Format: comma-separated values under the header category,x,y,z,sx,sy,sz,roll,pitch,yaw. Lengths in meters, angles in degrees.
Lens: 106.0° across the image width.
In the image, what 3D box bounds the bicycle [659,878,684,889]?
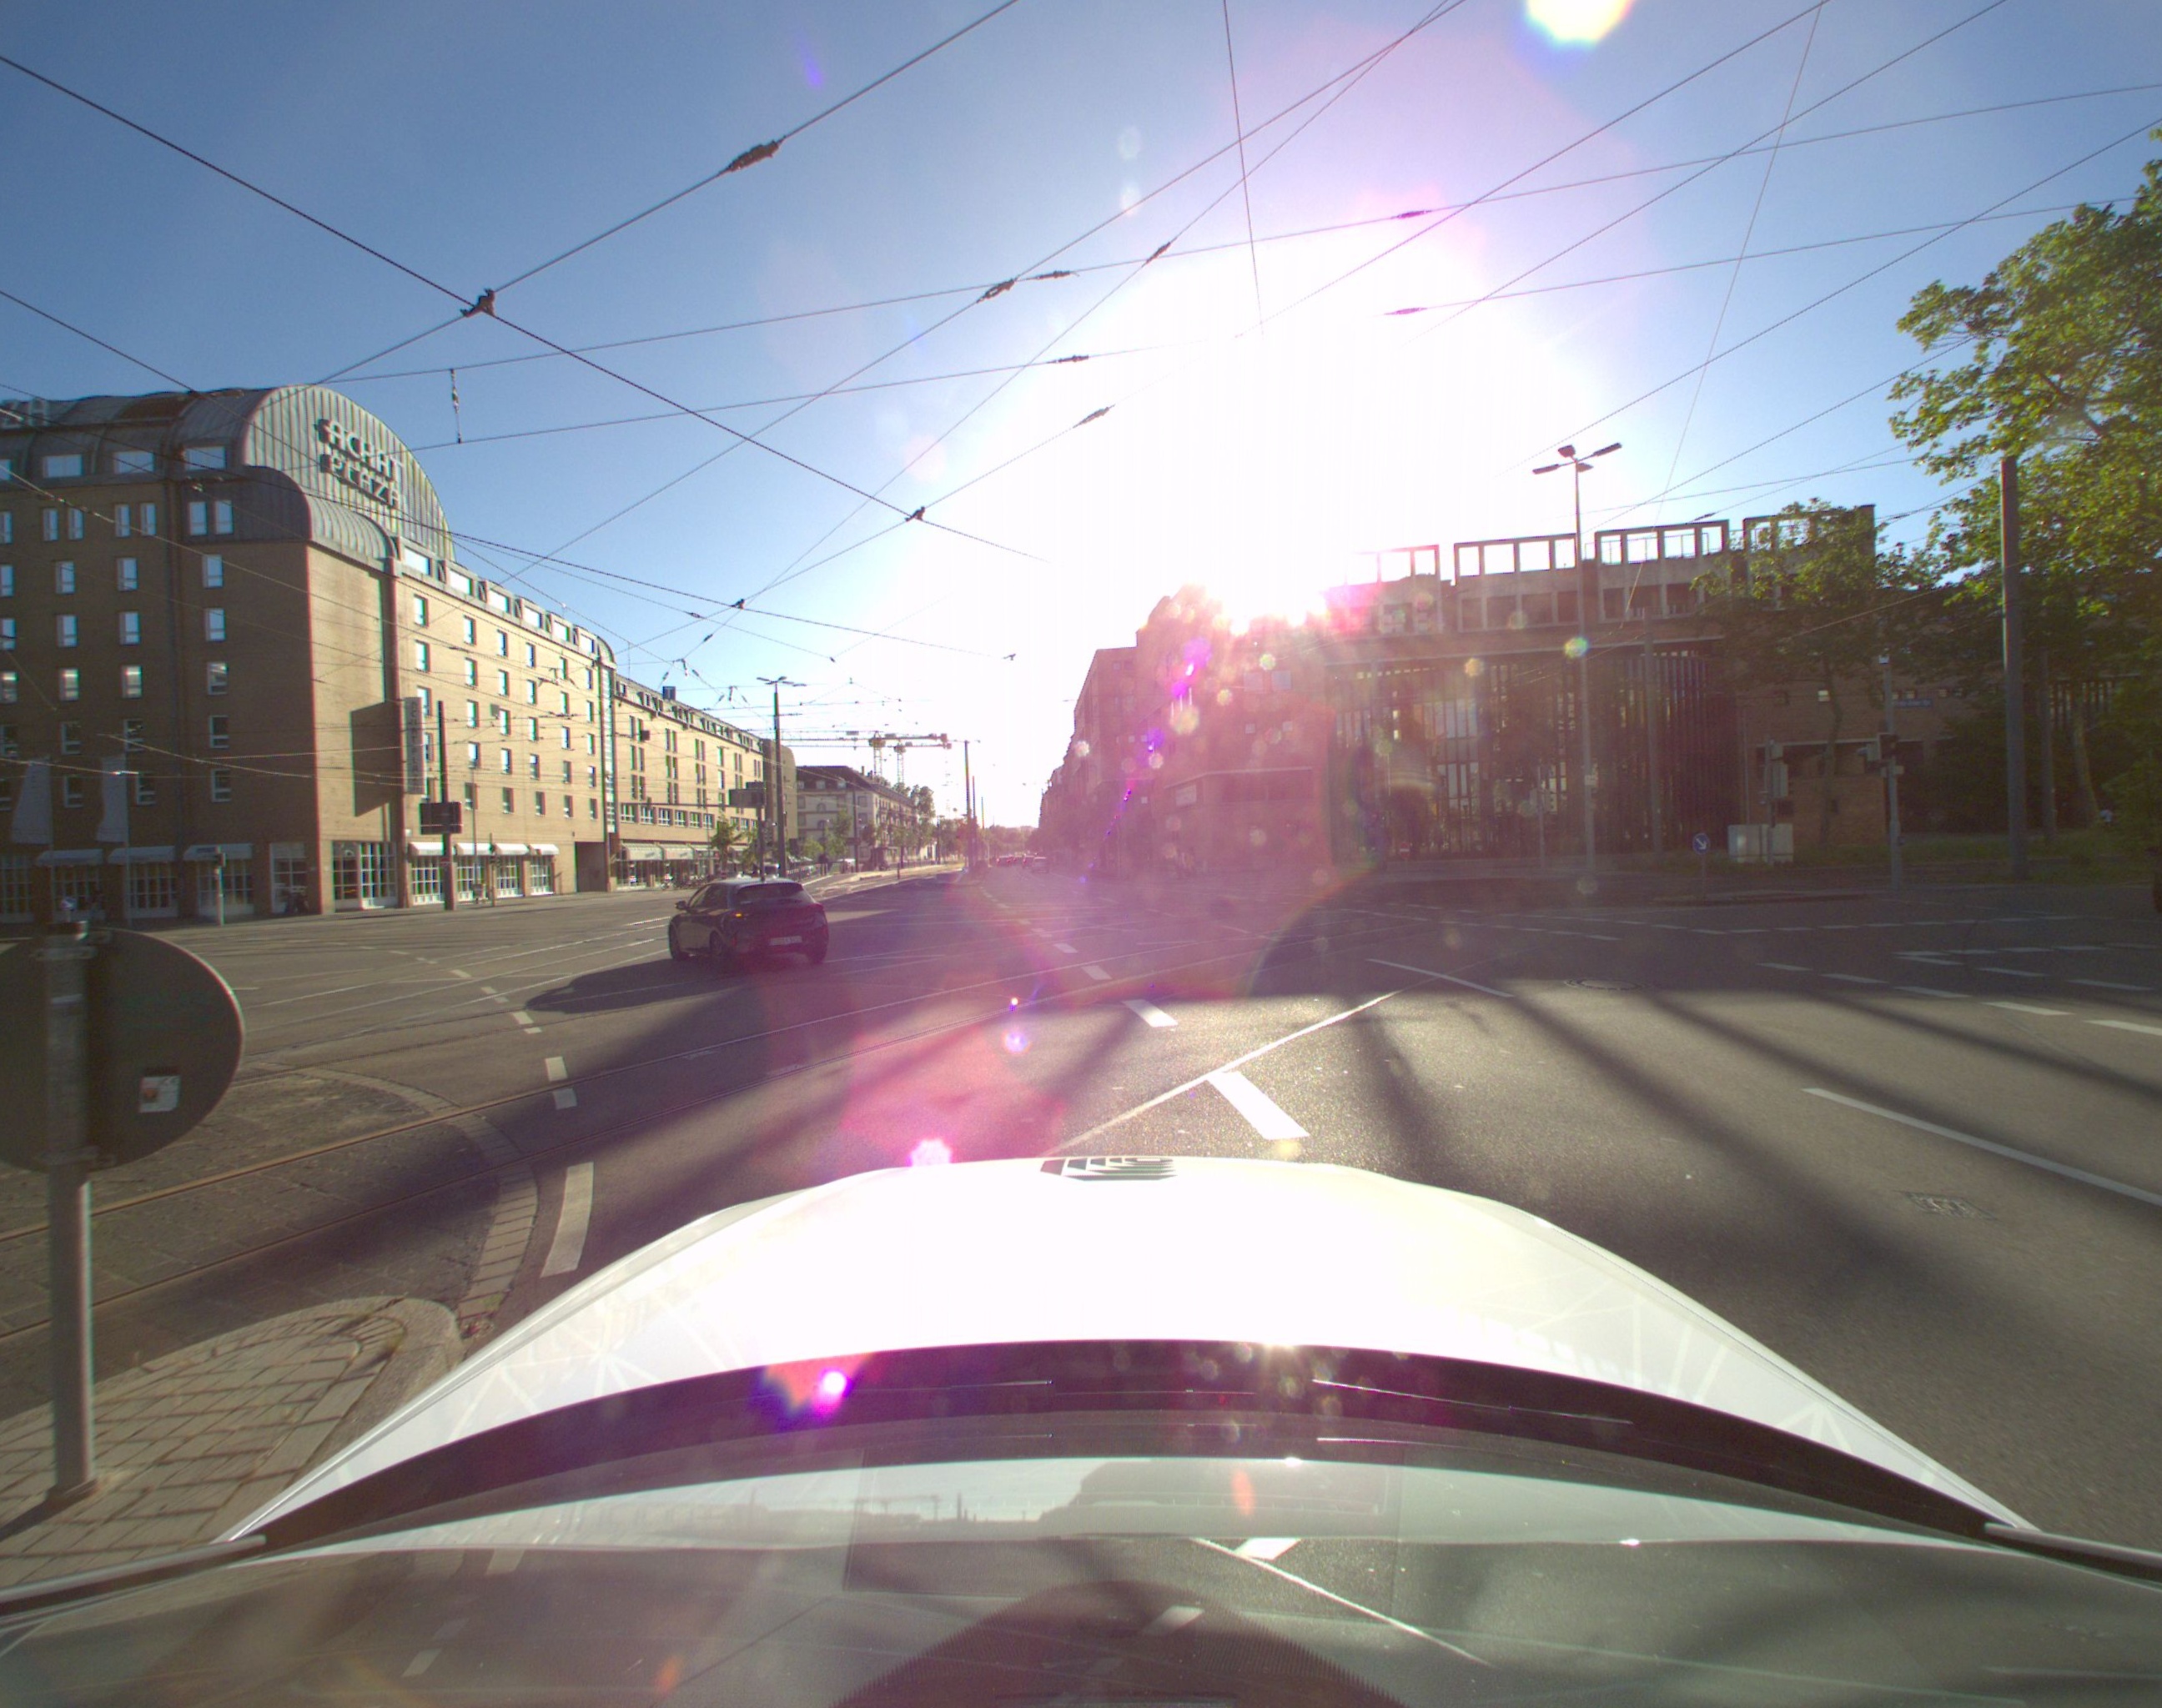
category,x,y,z,sx,sy,sz,roll,pitch,yaw
bicycle,-37.117,2.671,73.767,2.023,0.845,0.484,-3,0,5

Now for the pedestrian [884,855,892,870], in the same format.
category,x,y,z,sx,sy,sz,roll,pitch,yaw
pedestrian,-22.891,0.987,96.447,0.862,1.670,0.734,-2,1,-15

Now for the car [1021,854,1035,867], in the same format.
category,x,y,z,sx,sy,sz,roll,pitch,yaw
car,-6.748,0.831,102.950,1.668,1.453,3.692,-3,0,-4

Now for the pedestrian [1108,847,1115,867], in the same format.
category,x,y,z,sx,sy,sz,roll,pitch,yaw
pedestrian,2.753,0.296,73.473,0.546,1.785,0.573,-2,3,-2

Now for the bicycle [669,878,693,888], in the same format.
category,x,y,z,sx,sy,sz,roll,pitch,yaw
bicycle,-37.029,2.664,75.355,2.023,0.845,0.484,-3,0,5

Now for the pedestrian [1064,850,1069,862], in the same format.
category,x,y,z,sx,sy,sz,roll,pitch,yaw
pedestrian,-2.077,0.277,119.263,0.638,1.786,0.688,-3,0,-2

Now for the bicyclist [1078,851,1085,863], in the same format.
category,x,y,z,sx,sy,sz,roll,pitch,yaw
bicyclist,0.076,0.289,92.086,0.644,1.339,0.652,-2,0,-3

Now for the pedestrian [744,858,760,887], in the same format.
category,x,y,z,sx,sy,sz,roll,pitch,yaw
pedestrian,-20.401,1.128,50.533,0.719,1.727,0.594,-3,0,-4

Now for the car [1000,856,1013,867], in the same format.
category,x,y,z,sx,sy,sz,roll,pitch,yaw
car,-10.571,1.000,115.637,1.717,1.453,3.692,-3,0,-4

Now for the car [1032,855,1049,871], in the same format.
category,x,y,z,sx,sy,sz,roll,pitch,yaw
car,-3.917,0.827,78.288,1.556,1.456,3.428,-2,0,-3

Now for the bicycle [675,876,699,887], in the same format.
category,x,y,z,sx,sy,sz,roll,pitch,yaw
bicycle,-37.176,2.635,76.775,2.023,0.920,0.484,-3,0,5

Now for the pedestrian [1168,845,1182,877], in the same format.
category,x,y,z,sx,sy,sz,roll,pitch,yaw
pedestrian,5.366,0.422,46.526,0.572,1.786,0.547,-3,0,-12

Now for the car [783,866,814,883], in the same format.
category,x,y,z,sx,sy,sz,roll,pitch,yaw
car,-27.718,1.982,80.107,1.837,1.448,4.290,-4,0,-6

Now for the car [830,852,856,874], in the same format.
category,x,y,z,sx,sy,sz,roll,pitch,yaw
car,-36.652,1.325,125.680,2.375,2.998,8.450,-3,1,-7

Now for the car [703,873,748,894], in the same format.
category,x,y,z,sx,sy,sz,roll,pitch,yaw
car,-26.552,2.178,60.988,1.837,1.268,4.221,-4,0,-6

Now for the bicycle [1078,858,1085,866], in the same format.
category,x,y,z,sx,sy,sz,roll,pitch,yaw
bicycle,0.100,0.890,91.976,0.647,0.904,2.343,-2,1,-3

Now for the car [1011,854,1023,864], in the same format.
category,x,y,z,sx,sy,sz,roll,pitch,yaw
car,-10.454,0.809,133.133,1.717,1.453,3.692,-3,0,-4

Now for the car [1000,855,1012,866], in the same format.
category,x,y,z,sx,sy,sz,roll,pitch,yaw
car,-11.566,1.005,126.332,1.717,1.453,3.692,-3,0,-4

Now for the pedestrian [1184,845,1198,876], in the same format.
category,x,y,z,sx,sy,sz,roll,pitch,yaw
pedestrian,6.468,0.390,47.744,0.572,1.786,0.547,-3,0,-12

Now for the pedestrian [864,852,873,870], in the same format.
category,x,y,z,sx,sy,sz,roll,pitch,yaw
pedestrian,-23.015,0.718,88.133,0.862,1.886,0.734,-2,1,-15

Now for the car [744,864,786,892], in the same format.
category,x,y,z,sx,sy,sz,roll,pitch,yaw
car,-23.314,1.726,60.200,1.838,1.835,4.096,-4,0,-8

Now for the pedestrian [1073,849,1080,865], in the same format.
category,x,y,z,sx,sy,sz,roll,pitch,yaw
pedestrian,-0.560,0.371,96.894,0.639,1.786,0.687,-3,0,-4

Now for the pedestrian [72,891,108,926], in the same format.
category,x,y,z,sx,sy,sz,roll,pitch,yaw
pedestrian,-49.171,2.702,40.421,0.749,1.665,0.740,-2,1,-2

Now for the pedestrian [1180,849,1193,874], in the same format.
category,x,y,z,sx,sy,sz,roll,pitch,yaw
pedestrian,6.346,0.447,48.959,0.549,1.477,0.569,-3,1,-22

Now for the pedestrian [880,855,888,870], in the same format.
category,x,y,z,sx,sy,sz,roll,pitch,yaw
pedestrian,-23.461,0.999,97.130,0.862,1.670,0.781,-2,1,-15

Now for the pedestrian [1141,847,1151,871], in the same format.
category,x,y,z,sx,sy,sz,roll,pitch,yaw
pedestrian,5.093,0.390,63.561,0.638,1.786,0.688,-3,0,-2

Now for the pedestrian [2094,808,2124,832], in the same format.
category,x,y,z,sx,sy,sz,roll,pitch,yaw
pedestrian,59.665,-1.963,47.267,0.683,1.384,0.812,-2,0,-2

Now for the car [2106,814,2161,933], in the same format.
category,x,y,z,sx,sy,sz,roll,pitch,yaw
car,15.696,0.178,11.058,4.000,1.474,1.844,-3,0,-43

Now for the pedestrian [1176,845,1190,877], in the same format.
category,x,y,z,sx,sy,sz,roll,pitch,yaw
pedestrian,5.911,0.391,47.122,0.572,1.786,0.547,-3,0,-12

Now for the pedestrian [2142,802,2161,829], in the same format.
category,x,y,z,sx,sy,sz,roll,pitch,yaw
pedestrian,64.618,-2.308,48.967,0.687,1.606,0.808,-2,0,-17

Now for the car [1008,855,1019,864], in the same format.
category,x,y,z,sx,sy,sz,roll,pitch,yaw
car,-11.846,0.975,143.041,1.717,1.453,3.692,-3,0,-4

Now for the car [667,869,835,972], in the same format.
category,x,y,z,sx,sy,sz,roll,pitch,yaw
car,-5.769,1.018,14.003,1.685,1.502,3.648,1,-1,-39

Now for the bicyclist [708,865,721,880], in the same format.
category,x,y,z,sx,sy,sz,roll,pitch,yaw
bicyclist,-33.398,1.686,74.236,0.808,1.376,0.924,-3,0,-6

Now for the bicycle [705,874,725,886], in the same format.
category,x,y,z,sx,sy,sz,roll,pitch,yaw
bicycle,-33.364,2.392,74.277,0.808,0.991,2.504,-3,0,-5

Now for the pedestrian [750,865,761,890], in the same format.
category,x,y,z,sx,sy,sz,roll,pitch,yaw
pedestrian,-20.989,1.513,52.531,0.582,1.577,0.643,-2,0,-18
